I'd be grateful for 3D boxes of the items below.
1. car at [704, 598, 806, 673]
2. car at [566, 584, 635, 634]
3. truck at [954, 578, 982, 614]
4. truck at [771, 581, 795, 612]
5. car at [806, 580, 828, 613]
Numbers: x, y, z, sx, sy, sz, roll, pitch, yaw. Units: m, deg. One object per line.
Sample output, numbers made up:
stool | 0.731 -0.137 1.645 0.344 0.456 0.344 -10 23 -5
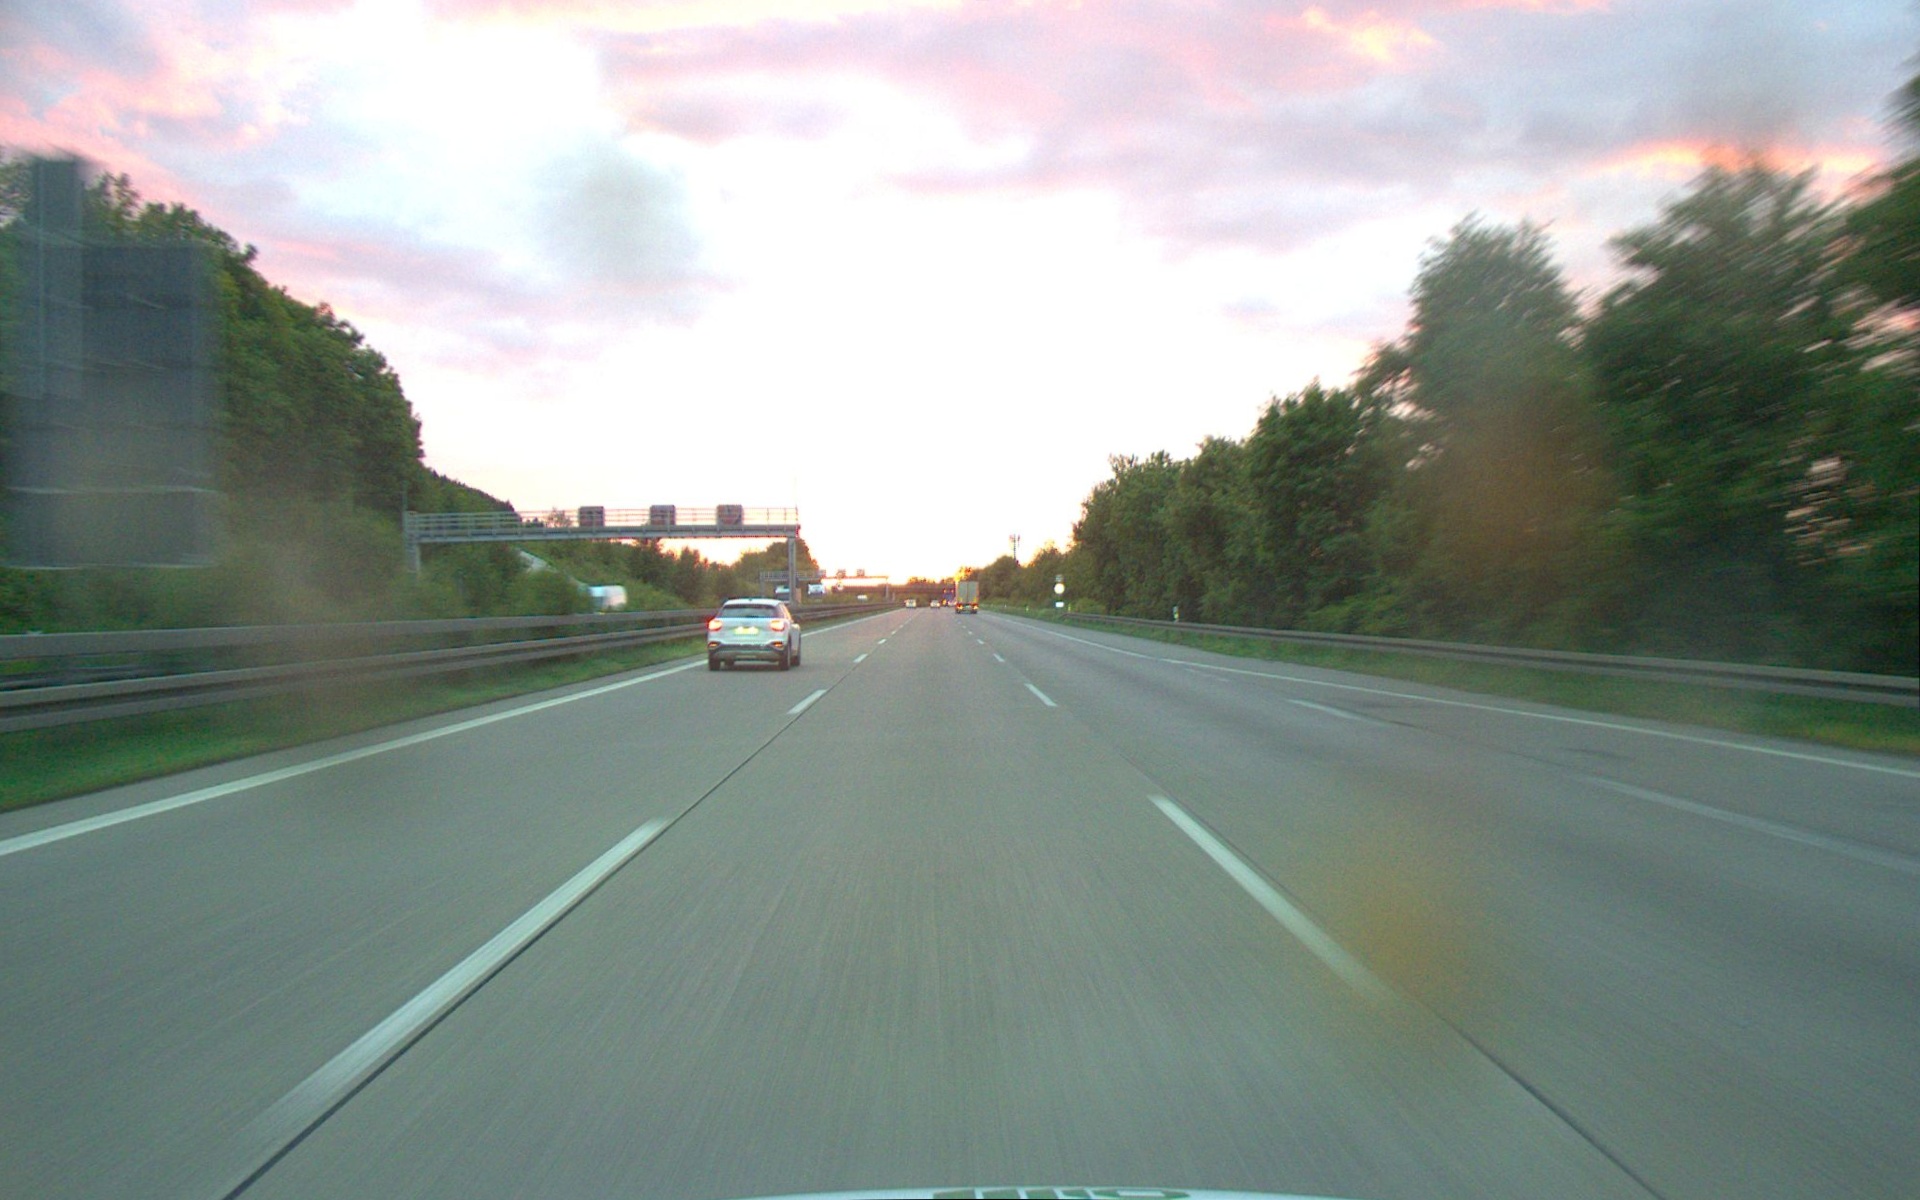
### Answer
car | -4.503 0.738 37.030 1.753 1.527 5.036 1 0 -1
car | -17.832 0.447 82.423 2.094 2.400 6.718 0 0 -1
truck | 0.981 -0.444 200.962 3.178 4.199 9.786 -1 0 0
truck | -25.046 -0.460 234.340 2.798 4.284 5.863 -1 0 -1
car | -20.619 -0.499 238.054 2.741 4.566 5.928 0 0 -1
